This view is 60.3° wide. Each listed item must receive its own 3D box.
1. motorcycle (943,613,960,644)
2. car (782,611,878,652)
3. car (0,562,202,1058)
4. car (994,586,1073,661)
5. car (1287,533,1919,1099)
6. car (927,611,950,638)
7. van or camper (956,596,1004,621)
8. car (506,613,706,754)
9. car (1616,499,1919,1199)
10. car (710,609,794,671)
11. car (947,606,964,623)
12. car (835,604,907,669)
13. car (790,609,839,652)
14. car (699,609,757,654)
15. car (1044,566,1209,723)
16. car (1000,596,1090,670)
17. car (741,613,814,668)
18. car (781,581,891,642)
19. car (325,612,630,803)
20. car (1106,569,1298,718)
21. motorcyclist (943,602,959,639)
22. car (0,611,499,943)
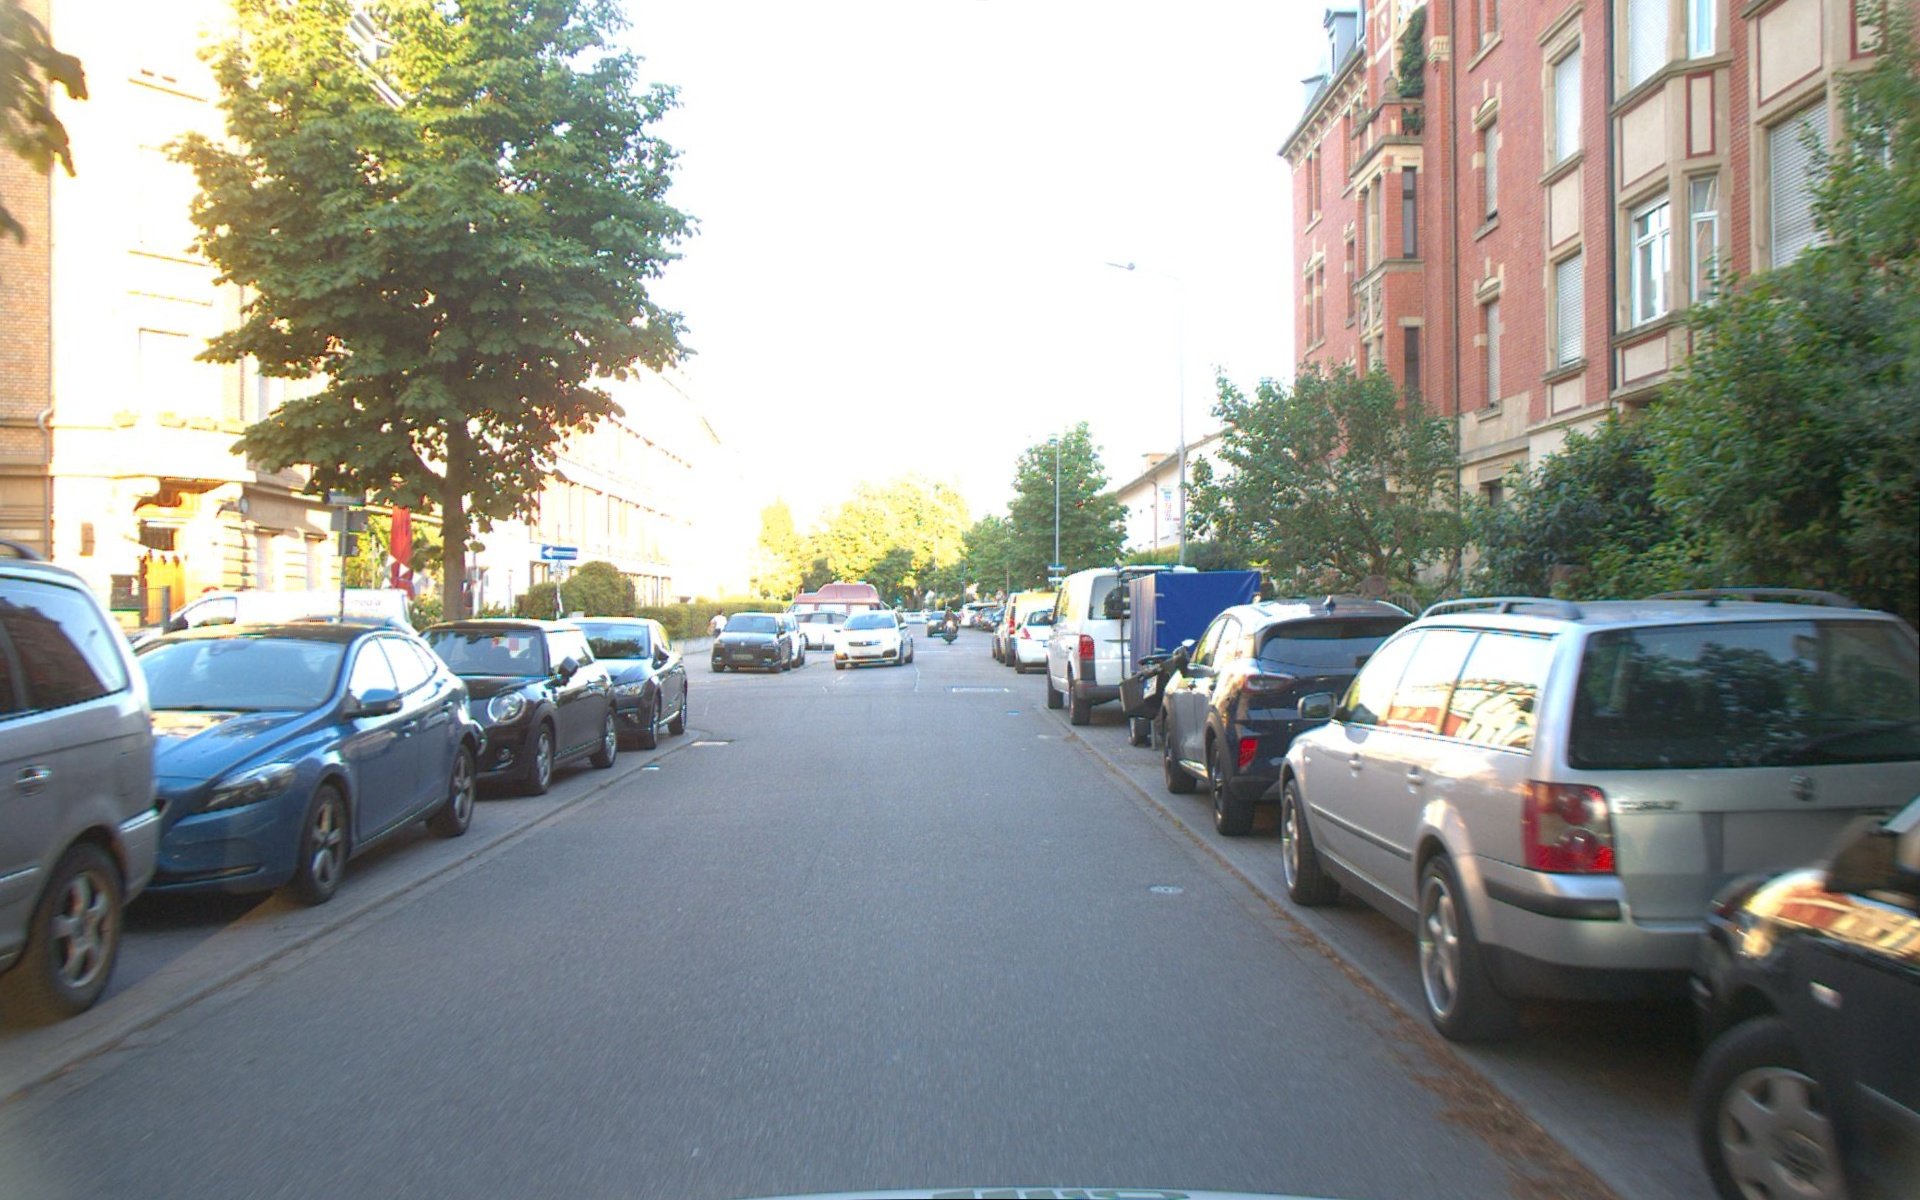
[{"bbox_3d":[-0.387,1.272,75.110,0.727,1.272,3.377,-1,1,-1],"label":"motorcycle"},{"bbox_3d":[-4.892,1.168,62.336,3.548,1.487,1.605,0,0,-5],"label":"car"},{"bbox_3d":[-3.971,0.690,4.632,1.681,1.624,4.518,0,0,-1],"label":"car"},{"bbox_3d":[1.882,0.602,43.312,1.653,1.843,3.937,0,-1,-4],"label":"car"},{"bbox_3d":[2.522,0.640,6.766,1.652,1.634,3.940,0,-1,1],"label":"car"},{"bbox_3d":[-1.338,1.499,102.753,1.403,1.624,3.482,0,0,-1],"label":"car"},{"bbox_3d":[2.276,0.958,187.482,5.171,2.840,1.547,0,0,-12],"label":"van or camper"},{"bbox_3d":[-4.124,0.915,19.799,1.566,1.466,3.837,0,0,0],"label":"car"},{"bbox_3d":[2.570,0.624,2.658,1.651,1.634,3.941,0,-1,3],"label":"car"},{"bbox_3d":[-5.267,1.015,42.286,1.680,1.512,3.630,0,-1,0],"label":"car"},{"bbox_3d":[-0.460,1.402,161.737,1.681,1.624,3.482,0,0,-1],"label":"car"},{"bbox_3d":[-2.340,0.943,44.069,1.776,1.624,3.482,0,0,-1],"label":"car"},{"bbox_3d":[-5.184,1.072,59.351,1.682,1.466,3.627,0,0,-4],"label":"car"},{"bbox_3d":[-7.903,1.054,56.626,1.682,1.466,3.627,-1,0,-4],"label":"car"},{"bbox_3d":[2.200,0.574,22.764,1.647,1.975,3.877,0,-1,-4],"label":"car"},{"bbox_3d":[1.923,0.742,38.527,1.653,1.634,3.937,0,-1,-4],"label":"car"},{"bbox_3d":[-5.222,1.134,47.649,1.680,1.466,3.630,0,0,0],"label":"car"},{"bbox_3d":[-4.847,0.431,65.128,4.263,2.359,1.744,0,0,-3],"label":"car"},{"bbox_3d":[-4.173,0.862,14.884,1.680,1.466,3.630,0,0,0],"label":"car"},{"bbox_3d":[2.685,0.470,19.021,1.508,1.548,3.429,0,-1,-4],"label":"car"},{"bbox_3d":[-0.419,0.920,75.031,0.688,1.659,0.822,-1,0,-1],"label":"motorcyclist"},{"bbox_3d":[-4.058,0.832,9.652,1.681,1.490,3.986,0,0,-1],"label":"car"}]
